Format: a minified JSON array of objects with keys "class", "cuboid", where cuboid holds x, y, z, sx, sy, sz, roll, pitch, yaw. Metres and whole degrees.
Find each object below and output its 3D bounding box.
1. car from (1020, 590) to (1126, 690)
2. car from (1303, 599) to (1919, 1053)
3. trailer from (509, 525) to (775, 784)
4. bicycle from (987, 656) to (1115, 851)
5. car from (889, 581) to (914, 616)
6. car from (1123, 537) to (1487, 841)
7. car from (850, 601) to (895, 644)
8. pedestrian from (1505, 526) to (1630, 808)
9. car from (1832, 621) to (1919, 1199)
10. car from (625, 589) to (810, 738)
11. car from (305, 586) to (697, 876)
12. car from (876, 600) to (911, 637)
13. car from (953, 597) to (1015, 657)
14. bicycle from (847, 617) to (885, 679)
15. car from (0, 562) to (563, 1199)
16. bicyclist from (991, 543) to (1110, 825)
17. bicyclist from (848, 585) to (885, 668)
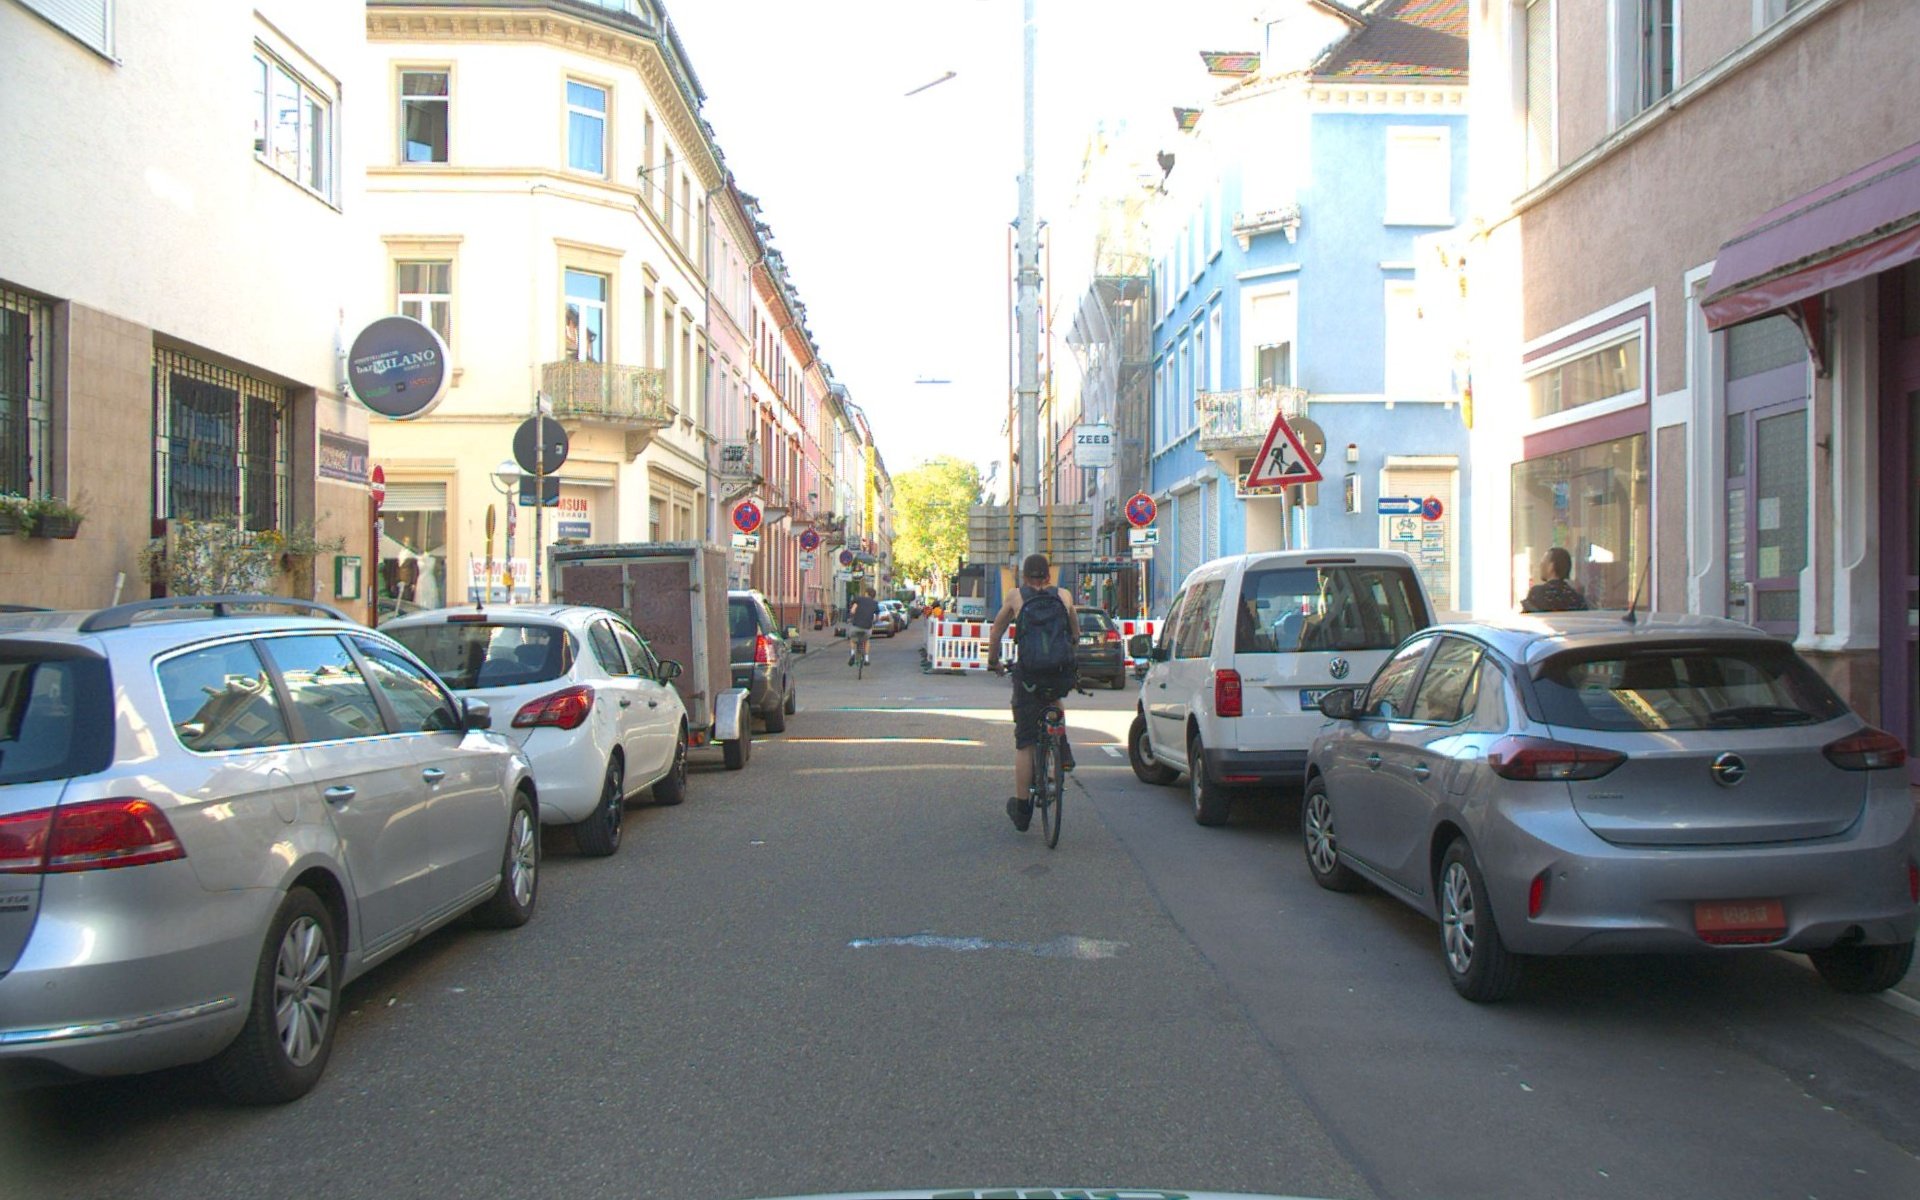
[{"class":"car","cuboid":[1.986,0.692,29.857,1.578,1.662,3.609,1,-1,-1]},{"class":"car","cuboid":[2.799,0.780,7.494,1.714,1.513,3.799,-1,-1,0]},{"class":"trailer","cuboid":[-2.861,0.474,15.666,1.843,2.129,3.736,-1,-1,-1]},{"class":"bicycle","cuboid":[0.554,0.937,10.723,0.663,1.093,1.941,1,-1,-1]},{"class":"car","cuboid":[-4.064,-0.098,115.304,1.714,2.358,3.795,-1,-1,-1]},{"class":"car","cuboid":[2.403,0.586,12.552,1.715,1.911,3.970,-1,-1,-3]},{"class":"car","cuboid":[-3.629,0.951,69.082,1.714,1.713,3.795,-1,-1,-1]},{"class":"pedestrian","cuboid":[4.572,0.497,12.485,0.631,2.049,0.763,1,-1,-1]},{"class":"car","cuboid":[2.829,0.731,1.715,1.613,1.500,3.969,-4,-1,-1]},{"class":"car","cuboid":[-2.824,0.714,19.978,1.714,1.600,3.795,-1,-1,-1]},{"class":"car","cuboid":[-2.813,0.738,10.919,1.620,1.564,3.633,-1,-1,-1]},{"class":"car","cuboid":[-3.445,0.979,86.086,1.714,1.853,3.795,-1,-1,-1]},{"class":"car","cuboid":[0.627,0.741,46.139,1.578,1.587,3.609,1,-1,-1]},{"class":"bicycle","cuboid":[-1.827,0.921,32.245,0.635,1.149,2.135,1,-1,-1]},{"class":"car","cuboid":[-2.791,0.728,6.013,1.714,1.564,4.318,-1,-1,-1]},{"class":"bicyclist","cuboid":[0.563,0.516,10.634,0.654,1.706,1.097,1,-1,-1]},{"class":"bicyclist","cuboid":[-1.825,0.514,32.393,0.657,1.595,0.716,1,-1,-1]}]
